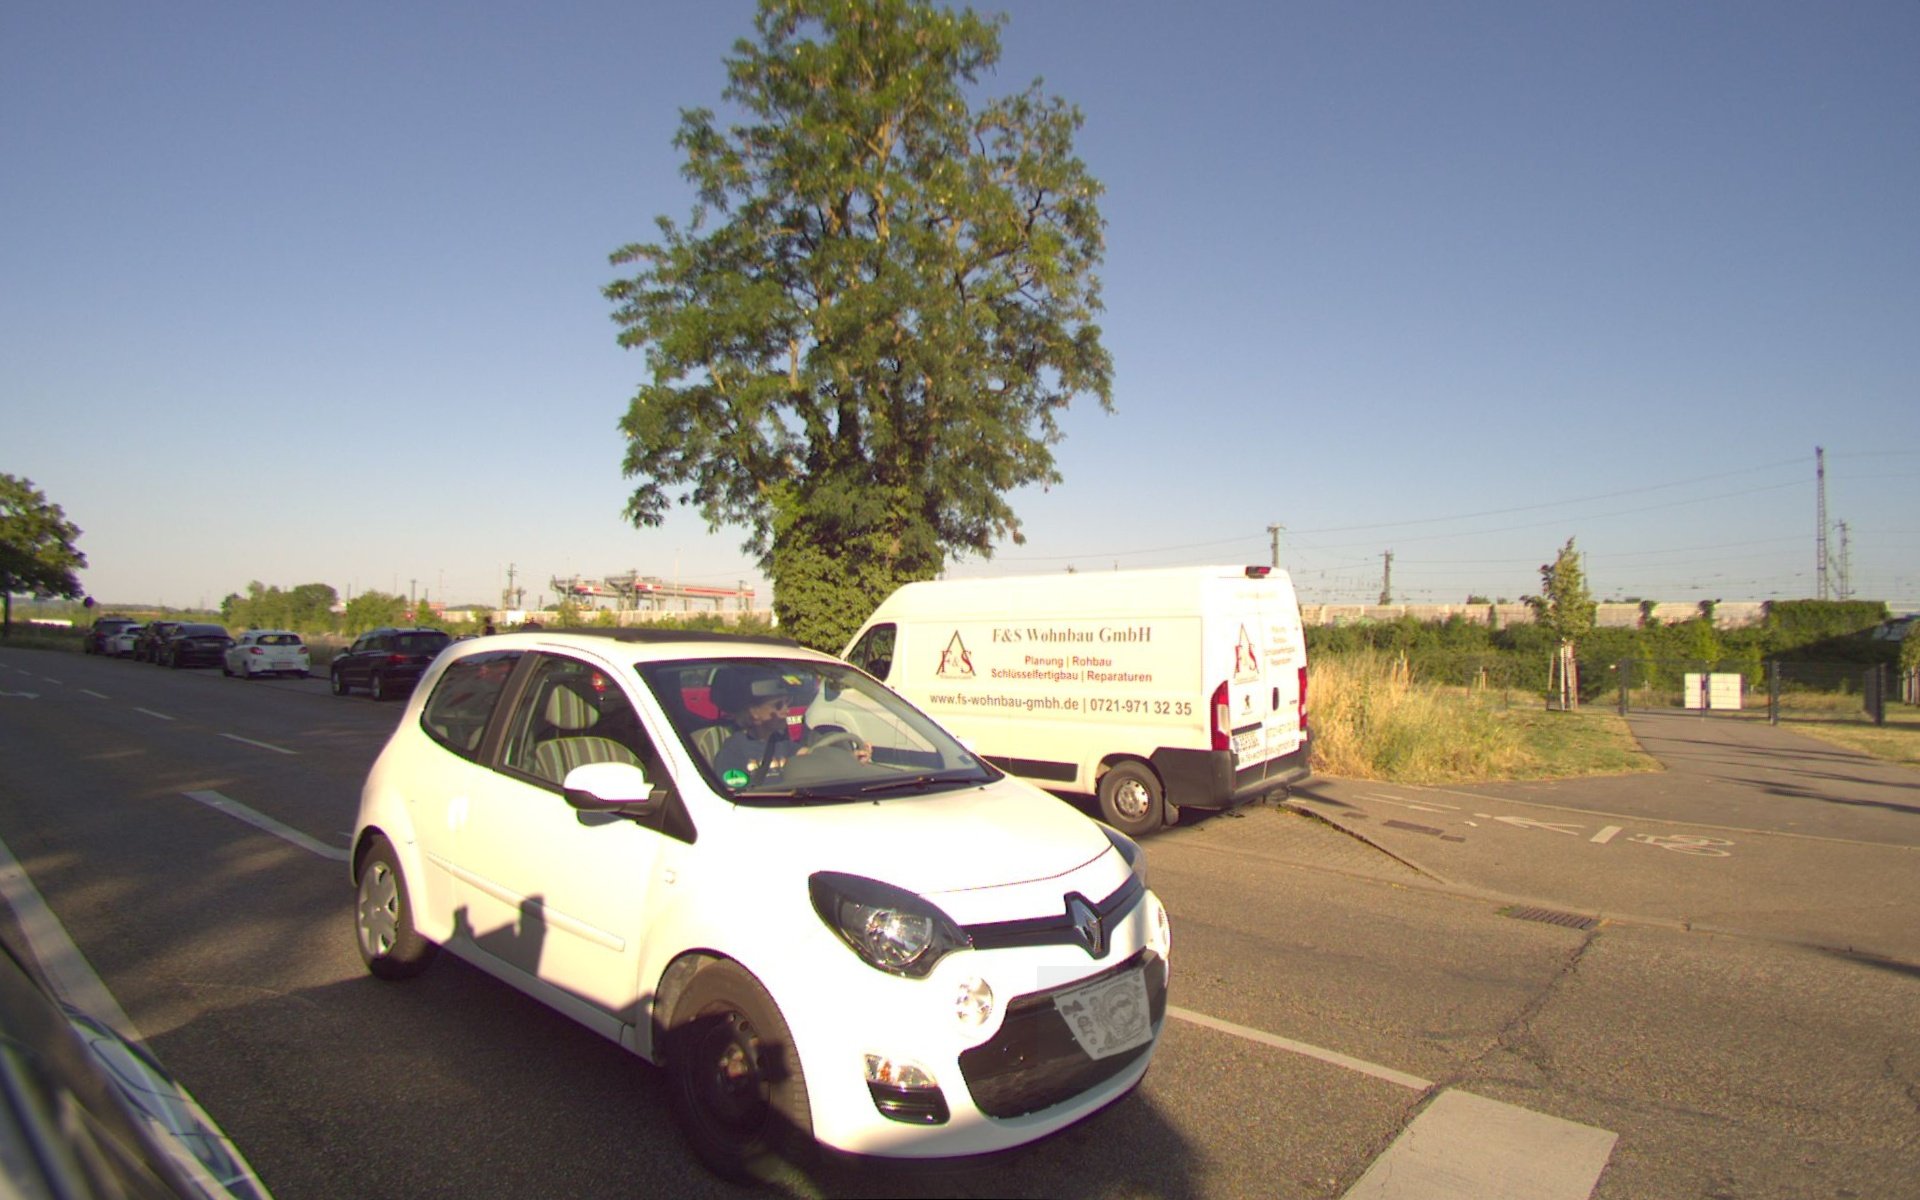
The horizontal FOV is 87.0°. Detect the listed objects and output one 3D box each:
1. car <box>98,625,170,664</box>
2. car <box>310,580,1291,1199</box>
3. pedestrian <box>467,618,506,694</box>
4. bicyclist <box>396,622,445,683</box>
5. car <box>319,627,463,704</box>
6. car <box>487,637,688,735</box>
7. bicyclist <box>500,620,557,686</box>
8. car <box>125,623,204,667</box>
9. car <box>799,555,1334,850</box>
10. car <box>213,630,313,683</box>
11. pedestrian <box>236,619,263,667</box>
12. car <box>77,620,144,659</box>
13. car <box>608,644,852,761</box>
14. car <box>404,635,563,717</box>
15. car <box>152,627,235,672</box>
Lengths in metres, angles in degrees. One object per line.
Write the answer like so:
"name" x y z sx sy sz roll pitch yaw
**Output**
"car" -36.474 1.953 44.660 4.219 1.586 1.799 -1 -4 43
"car" -0.875 0.773 3.941 3.772 1.480 1.683 -1 -4 40
"pedestrian" -12.854 1.503 27.461 0.729 2.029 0.608 -1 -4 39
"bicyclist" -14.516 1.411 27.228 1.146 1.609 0.758 -1 -4 43
"car" -13.602 1.526 24.115 4.003 1.672 1.642 -1 -4 40
"car" -6.804 1.495 18.317 3.814 1.541 1.723 -1 -4 40
"bicyclist" -10.828 1.329 25.390 1.145 1.609 0.855 -1 -4 41
"car" -32.387 1.814 41.150 4.219 1.650 1.799 -1 -4 43
"car" 0.923 0.894 11.081 5.556 2.455 2.207 -1 -1 40
"car" -21.563 1.732 31.292 3.582 1.538 1.684 -1 -4 42
"pedestrian" -30.372 1.837 43.267 0.710 2.029 0.697 -1 -4 42
"car" -40.844 1.897 48.608 4.219 1.789 1.866 -1 -4 43
"car" -3.554 1.474 15.395 3.692 1.498 1.723 -1 -4 40
"car" -10.020 1.547 21.196 3.577 1.541 1.642 -1 -4 40
"car" -28.238 1.816 37.228 1.798 1.538 4.292 5 -4 -45
